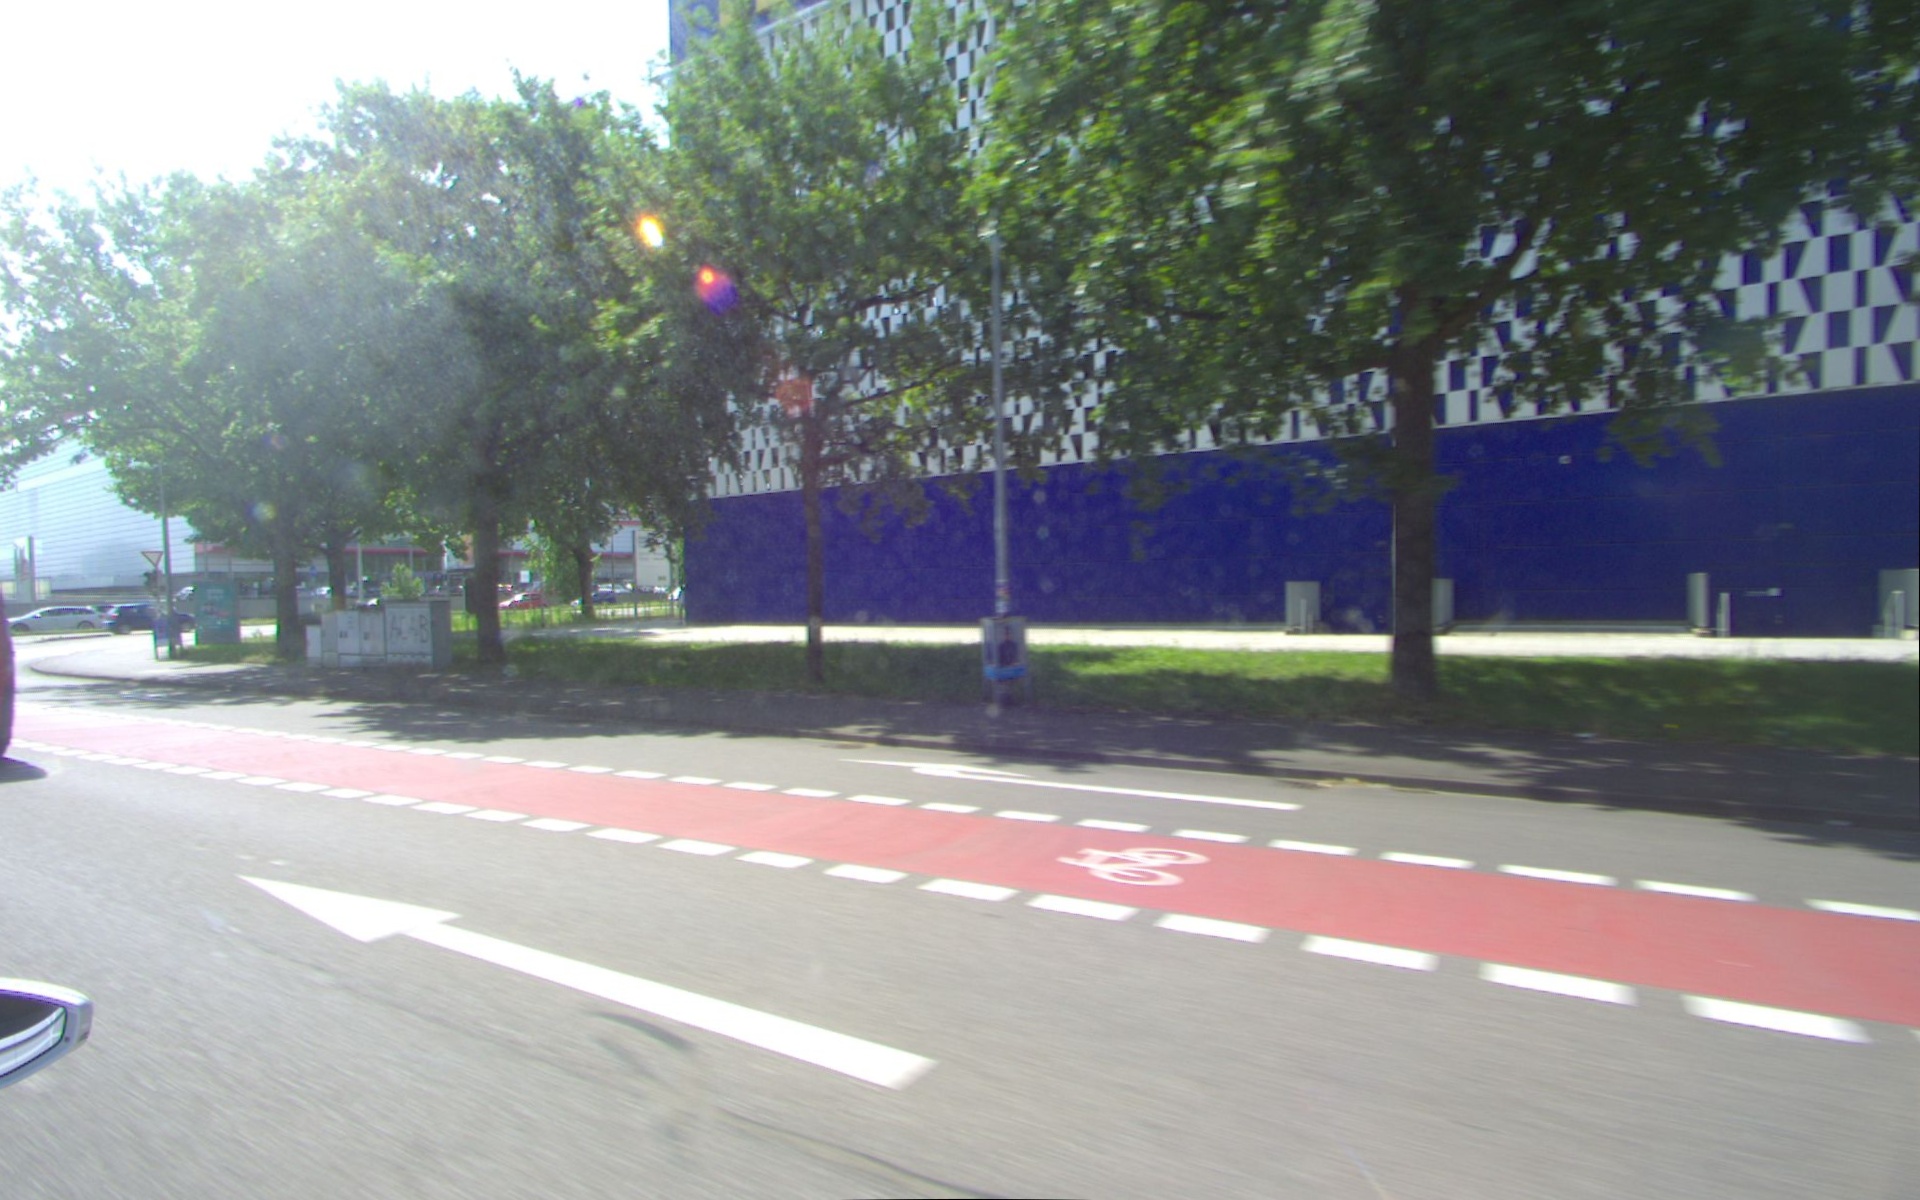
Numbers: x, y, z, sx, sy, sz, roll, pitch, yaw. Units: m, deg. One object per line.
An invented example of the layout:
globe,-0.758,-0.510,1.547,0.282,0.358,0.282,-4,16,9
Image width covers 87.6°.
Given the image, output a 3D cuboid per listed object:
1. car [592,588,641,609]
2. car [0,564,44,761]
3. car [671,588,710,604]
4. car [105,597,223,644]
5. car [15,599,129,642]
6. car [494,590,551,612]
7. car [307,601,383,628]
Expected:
car,-29.371,-0.134,85.624,1.462,1.540,3.756,0,3,37
car,-12.193,0.653,10.968,5.052,1.993,1.963,-1,0,33
car,-24.640,-0.357,91.648,1.289,1.285,3.278,0,3,40
car,-40.543,1.003,51.131,1.461,2.022,4.386,0,3,34
car,-48.557,1.097,54.839,1.462,2.022,4.383,0,3,37
car,-34.265,0.078,78.500,1.462,1.540,3.756,0,3,37
car,-42.034,0.949,68.514,1.462,1.540,4.114,0,3,37
